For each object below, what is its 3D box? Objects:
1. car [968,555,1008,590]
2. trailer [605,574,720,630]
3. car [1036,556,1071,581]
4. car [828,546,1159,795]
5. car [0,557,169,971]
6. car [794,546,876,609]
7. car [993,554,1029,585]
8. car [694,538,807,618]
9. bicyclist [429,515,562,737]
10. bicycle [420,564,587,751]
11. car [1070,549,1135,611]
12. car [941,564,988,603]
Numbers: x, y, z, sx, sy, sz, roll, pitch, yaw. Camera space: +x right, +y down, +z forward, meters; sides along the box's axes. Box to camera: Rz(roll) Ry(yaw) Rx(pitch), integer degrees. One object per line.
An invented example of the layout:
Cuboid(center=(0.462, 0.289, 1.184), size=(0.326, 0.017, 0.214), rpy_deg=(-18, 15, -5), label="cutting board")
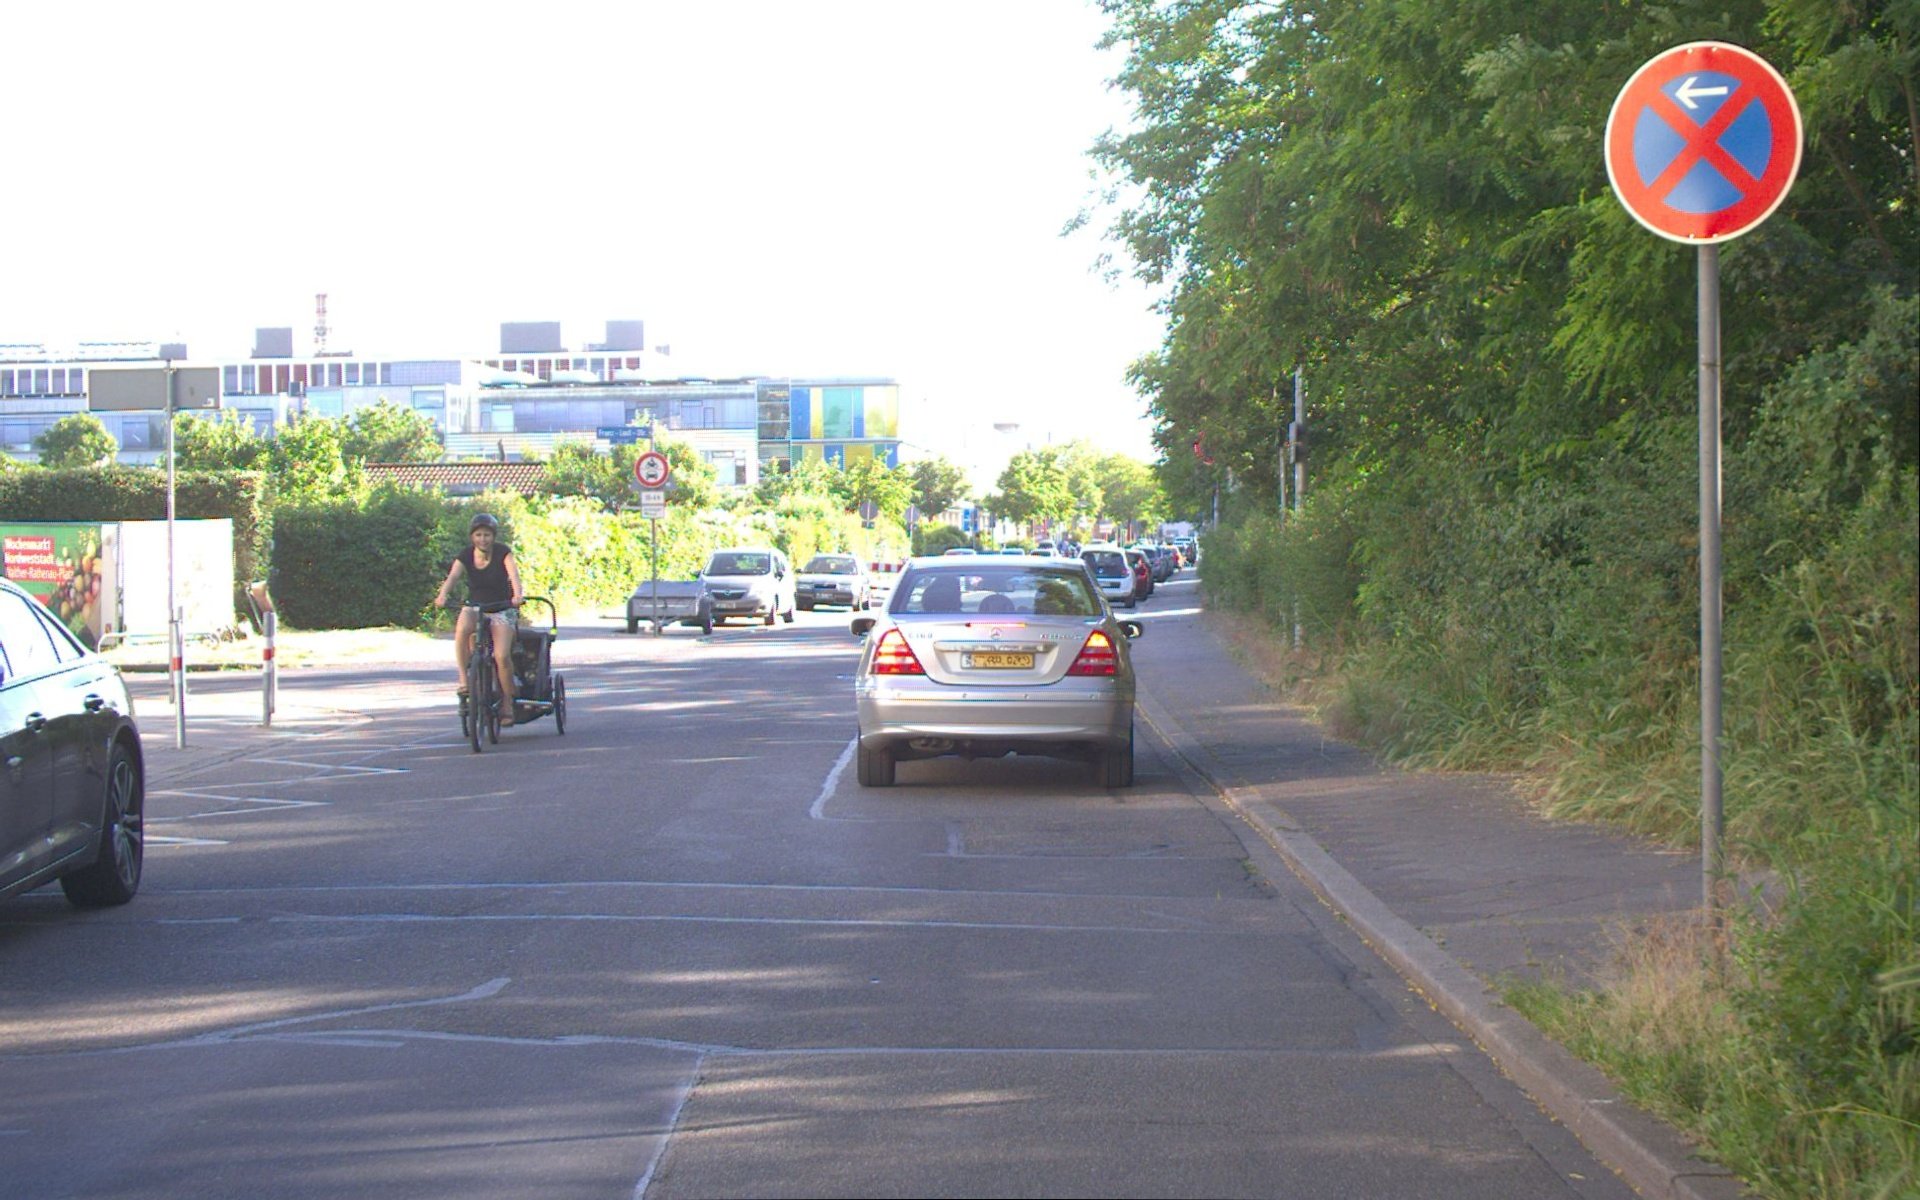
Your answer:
Cuboid(center=(1.265, -1.248, 154.390), size=(1.560, 1.489, 3.570), rpy_deg=(2, 1, 4), label="car")
Cuboid(center=(-5.322, 0.025, 61.664), size=(1.544, 0.950, 2.646), rpy_deg=(1, 1, 7), label="trailer")
Cuboid(center=(5.468, -1.854, 200.663), size=(1.854, 1.423, 4.133), rpy_deg=(1, 1, 4), label="car")
Cuboid(center=(0.119, 0.387, 22.013), size=(1.737, 1.448, 4.001), rpy_deg=(0, 1, -5), label="car")
Cuboid(center=(-4.381, 0.628, 13.043), size=(1.727, 1.458, 4.683), rpy_deg=(-2, 2, -1), label="car")
Cuboid(center=(-3.237, -0.598, 89.409), size=(1.643, 1.551, 4.417), rpy_deg=(-1, 1, 4), label="car")
Cuboid(center=(2.540, -1.502, 171.384), size=(1.560, 1.489, 3.758), rpy_deg=(-1, 1, 4), label="car")
Cuboid(center=(-4.340, -0.469, 71.719), size=(1.644, 1.594, 4.310), rpy_deg=(1, 1, 6), label="car")
Cuboid(center=(-3.536, 0.190, 26.263), size=(0.844, 1.652, 1.064), rpy_deg=(-1, 0, 0), label="bicyclist")
Cuboid(center=(-3.531, 0.406, 26.877), size=(0.851, 1.366, 3.220), rpy_deg=(-1, 1, 0), label="bicycle")
Cuboid(center=(3.713, -0.535, 89.151), size=(1.556, 1.533, 3.555), rpy_deg=(1, 1, 4), label="car")
Cuboid(center=(0.187, -0.663, 136.236), size=(1.560, 1.489, 3.570), rpy_deg=(-1, 1, 4), label="car")
